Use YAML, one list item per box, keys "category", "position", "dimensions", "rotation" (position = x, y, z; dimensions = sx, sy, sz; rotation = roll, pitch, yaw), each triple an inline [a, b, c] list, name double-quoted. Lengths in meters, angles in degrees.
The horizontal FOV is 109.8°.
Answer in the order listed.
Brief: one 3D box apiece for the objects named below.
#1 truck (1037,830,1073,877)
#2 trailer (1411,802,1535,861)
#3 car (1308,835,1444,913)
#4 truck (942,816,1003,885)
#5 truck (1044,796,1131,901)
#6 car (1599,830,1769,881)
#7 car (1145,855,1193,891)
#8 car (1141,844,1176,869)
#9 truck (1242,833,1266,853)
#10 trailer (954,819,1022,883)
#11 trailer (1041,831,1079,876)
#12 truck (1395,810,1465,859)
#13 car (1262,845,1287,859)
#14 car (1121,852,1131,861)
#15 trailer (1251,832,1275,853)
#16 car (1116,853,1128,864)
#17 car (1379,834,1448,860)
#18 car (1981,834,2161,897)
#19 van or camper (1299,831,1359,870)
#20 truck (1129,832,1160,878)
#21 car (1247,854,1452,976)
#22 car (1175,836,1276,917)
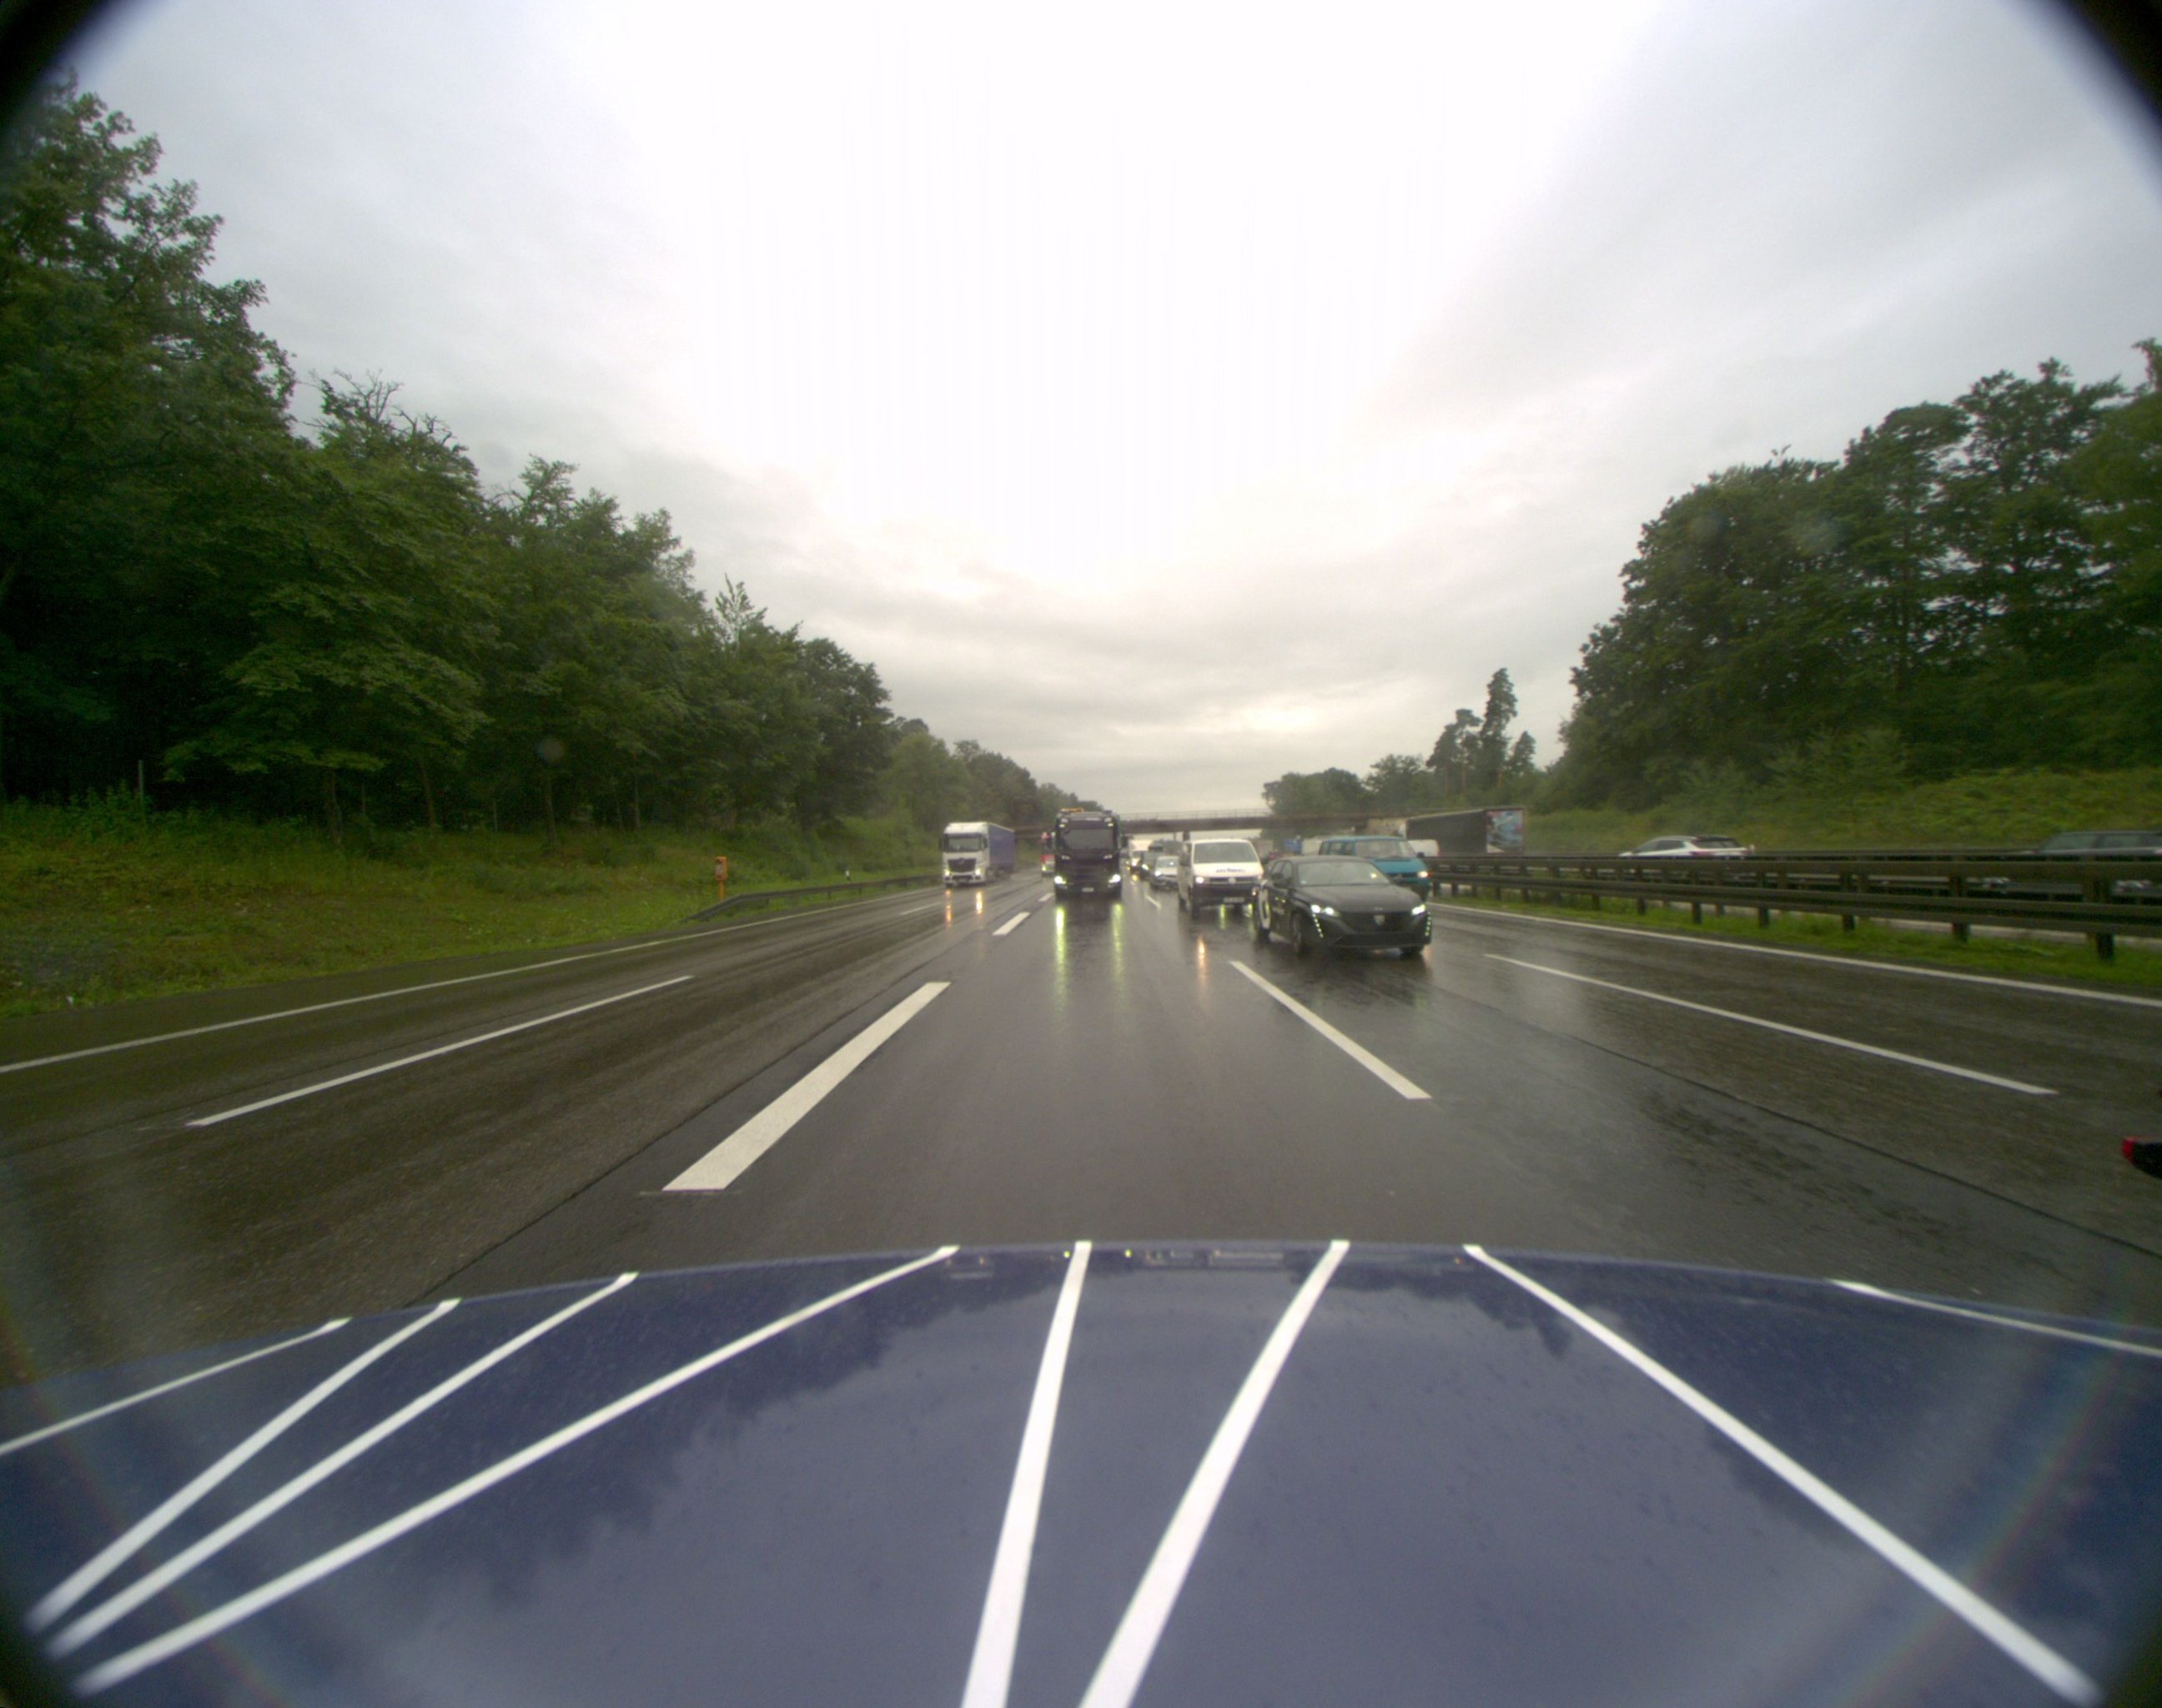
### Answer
- category: "truck"
  position: [-2.296, -0.056, 68.815]
  dimensions: [2.607, 3.934, 5.601]
  rotation: [-2, 1, 3]
- category: "trailer"
  position: [28.653, -1.499, 56.615]
  dimensions: [3.031, 3.795, 13.564]
  rotation: [-2, 0, 4]
- category: "car"
  position: [8.045, 0.481, 21.257]
  dimensions: [1.915, 1.852, 4.758]
  rotation: [-2, 0, 0]
- category: "truck"
  position: [-6.803, -0.216, 48.498]
  dimensions: [2.608, 3.990, 6.013]
  rotation: [-3, 1, 2]
- category: "truck"
  position: [0.563, -0.252, 31.832]
  dimensions: [2.879, 3.528, 10.912]
  rotation: [-2, 1, 3]
- category: "car"
  position: [19.630, 0.049, 25.071]
  dimensions: [1.998, 1.498, 4.708]
  rotation: [-1, 0, 2]
- category: "car"
  position: [3.990, 0.818, 35.042]
  dimensions: [1.850, 1.496, 4.467]
  rotation: [-2, 0, 3]
- category: "car"
  position: [5.119, 0.147, 50.743]
  dimensions: [1.994, 1.551, 4.768]
  rotation: [-2, 0, 2]
- category: "truck"
  position: [34.291, -2.116, 151.007]
  dimensions: [2.710, 3.909, 10.029]
  rotation: [-2, 0, 3]
- category: "trailer"
  position: [-6.450, -0.228, 55.009]
  dimensions: [2.560, 3.990, 13.715]
  rotation: [-2, 0, 2]
- category: "trailer"
  position: [-1.922, -0.105, 76.038]
  dimensions: [2.607, 3.934, 14.583]
  rotation: [-2, 0, 3]
- category: "truck"
  position: [29.024, -1.540, 63.493]
  dimensions: [3.027, 3.795, 6.265]
  rotation: [-2, 0, 2]
- category: "car"
  position: [22.271, -0.189, 87.545]
  dimensions: [1.840, 1.489, 4.332]
  rotation: [-2, 0, 1]
- category: "car"
  position: [10.410, 0.621, 175.947]
  dimensions: [1.864, 1.555, 4.432]
  rotation: [-2, 4, 1]
- category: "trailer"
  position: [33.840, -2.084, 141.695]
  dimensions: [2.689, 3.795, 9.008]
  rotation: [-2, 0, 3]
- category: "car"
  position: [7.680, 0.828, 143.052]
  dimensions: [1.998, 2.002, 4.000]
  rotation: [-2, 0, 1]
- category: "car"
  position: [20.180, -0.386, 46.356]
  dimensions: [1.999, 1.498, 4.706]
  rotation: [-1, 0, -1]
- category: "car"
  position: [23.765, 0.227, 17.477]
  dimensions: [1.705, 1.297, 3.756]
  rotation: [-2, 0, 1]
- category: "van or camper"
  position: [16.643, -0.204, 51.322]
  dimensions: [2.233, 2.408, 5.701]
  rotation: [-2, 0, 1]
- category: "truck"
  position: [5.814, 0.097, 70.219]
  dimensions: [2.520, 3.941, 6.995]
  rotation: [-2, 0, 3]
- category: "car"
  position: [3.951, 0.787, 12.051]
  dimensions: [1.850, 1.496, 4.467]
  rotation: [-2, 0, 3]
- category: "car"
  position: [3.745, 0.539, 20.568]
  dimensions: [1.994, 1.869, 4.768]
  rotation: [-2, 0, 3]
